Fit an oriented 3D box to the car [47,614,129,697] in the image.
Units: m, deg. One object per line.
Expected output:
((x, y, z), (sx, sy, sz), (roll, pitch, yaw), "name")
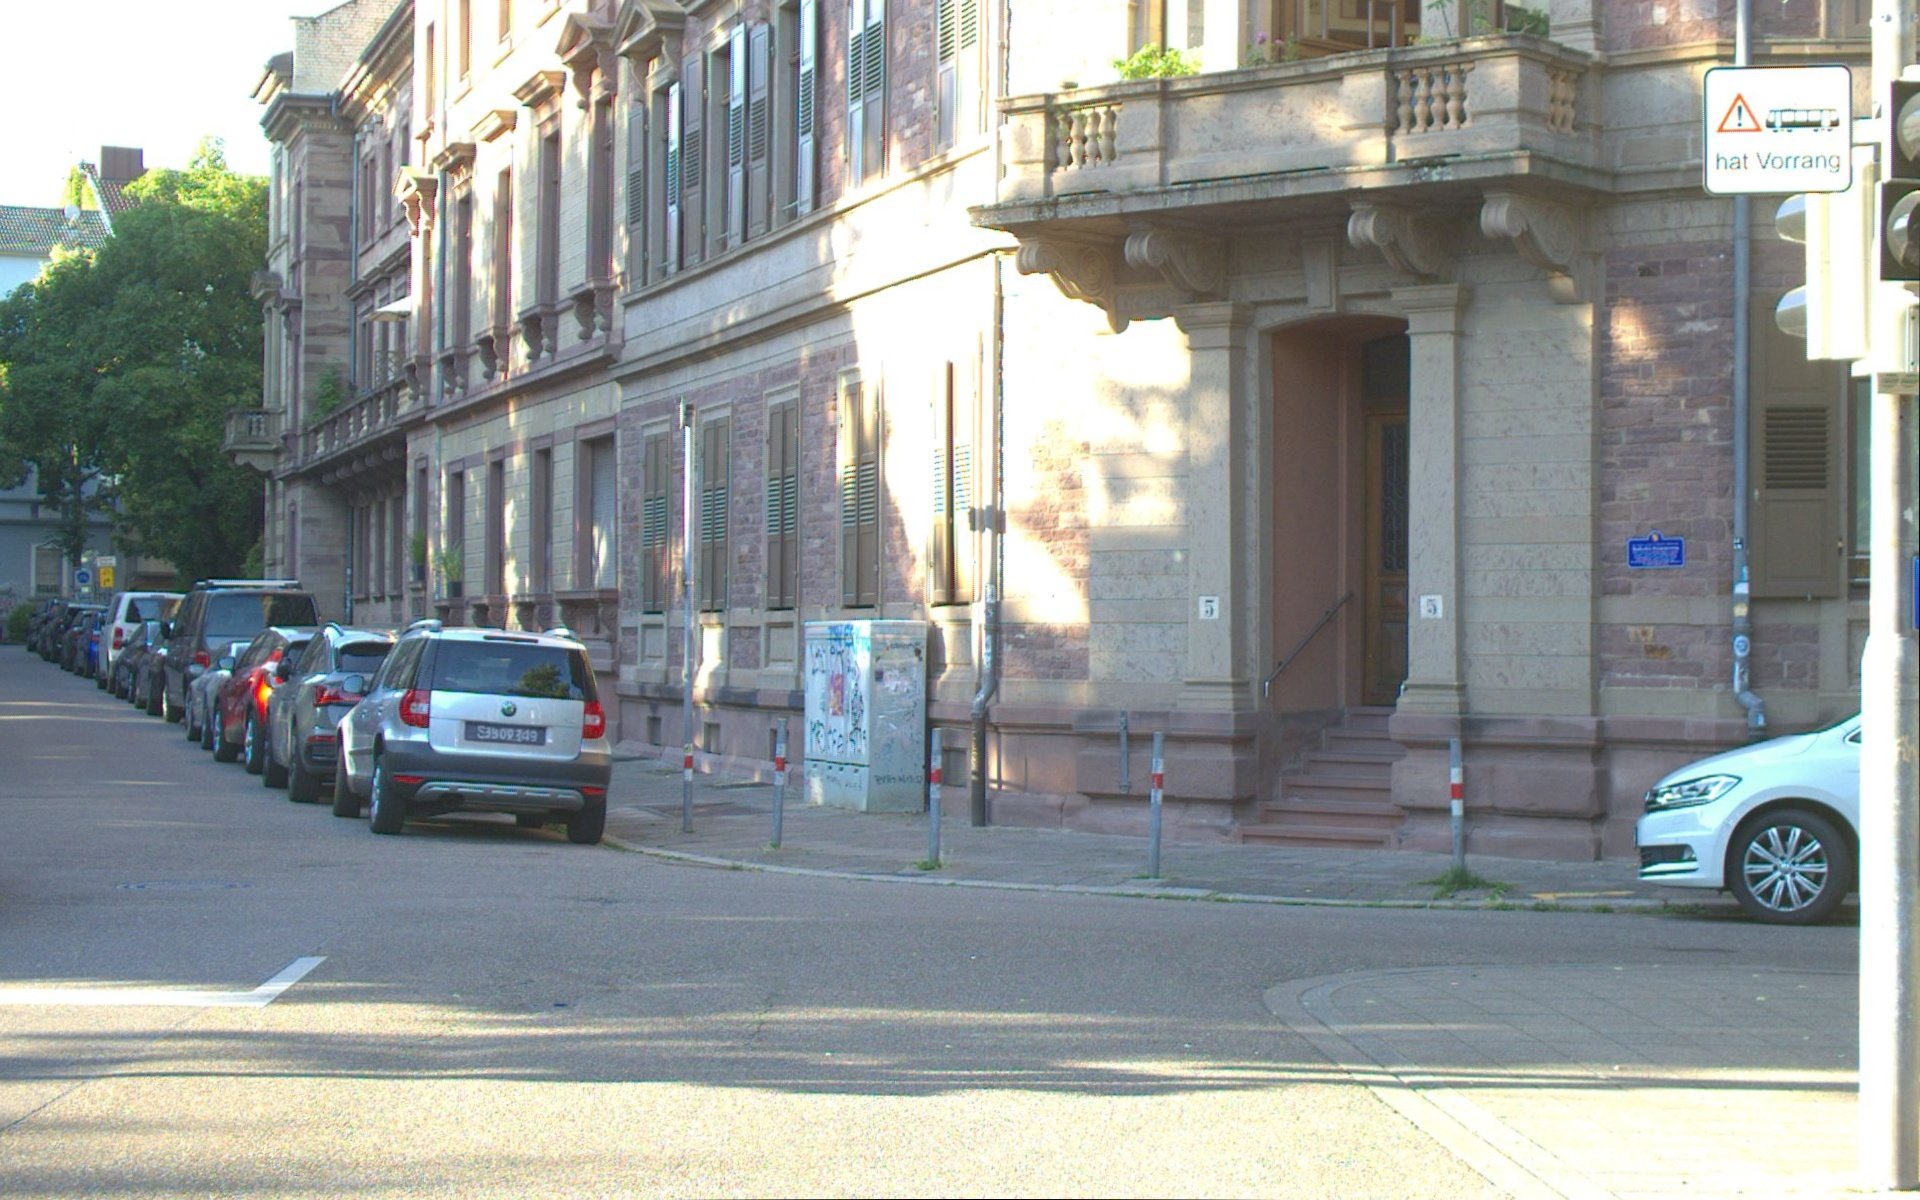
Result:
((-22.738, 1.426, 89.575), (1.797, 2.010, 3.956), (4, -1, -17), "car")

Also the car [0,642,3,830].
((-6.063, 0.957, 17.970), (1.701, 1.452, 4.063), (1, 0, -11), "car")

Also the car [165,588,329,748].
((-10.072, 0.940, 48.391), (1.797, 2.066, 3.956), (4, -1, -17), "car")

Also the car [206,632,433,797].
((-7.096, 1.224, 37.794), (1.797, 1.608, 3.956), (4, -1, -19), "car")

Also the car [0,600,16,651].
((-35.078, 0.894, 123.013), (1.993, 1.678, 4.000), (2, -3, -22), "car")

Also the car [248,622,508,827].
((-5.637, 1.135, 32.885), (1.825, 1.718, 4.544), (4, -2, -16), "car")

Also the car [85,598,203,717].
((-15.339, 1.068, 64.486), (1.797, 2.066, 3.956), (4, -1, -17), "car")

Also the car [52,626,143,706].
((-20.202, 1.528, 80.435), (1.797, 1.722, 3.956), (4, -1, -17), "car")

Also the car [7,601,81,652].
((-33.039, 0.974, 123.940), (1.993, 1.678, 4.000), (2, -3, -22), "car")

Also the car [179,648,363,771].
((-8.605, 1.330, 42.703), (1.797, 1.341, 3.956), (4, -1, -17), "car")

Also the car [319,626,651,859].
((-3.947, 1.115, 27.960), (1.915, 1.651, 4.188), (4, -2, -17), "car")

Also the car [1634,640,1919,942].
((6.197, 1.123, 19.786), (4.485, 1.644, 1.874), (1, -3, 10), "car")

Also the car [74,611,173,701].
((-18.400, 1.217, 75.546), (1.797, 1.833, 3.956), (4, -1, -17), "car")

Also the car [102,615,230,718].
((-13.658, 1.122, 59.022), (1.797, 1.617, 3.956), (4, -1, -17), "car")

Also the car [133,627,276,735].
((-11.829, 1.234, 53.654), (1.797, 1.518, 3.956), (4, -1, -17), "car")
